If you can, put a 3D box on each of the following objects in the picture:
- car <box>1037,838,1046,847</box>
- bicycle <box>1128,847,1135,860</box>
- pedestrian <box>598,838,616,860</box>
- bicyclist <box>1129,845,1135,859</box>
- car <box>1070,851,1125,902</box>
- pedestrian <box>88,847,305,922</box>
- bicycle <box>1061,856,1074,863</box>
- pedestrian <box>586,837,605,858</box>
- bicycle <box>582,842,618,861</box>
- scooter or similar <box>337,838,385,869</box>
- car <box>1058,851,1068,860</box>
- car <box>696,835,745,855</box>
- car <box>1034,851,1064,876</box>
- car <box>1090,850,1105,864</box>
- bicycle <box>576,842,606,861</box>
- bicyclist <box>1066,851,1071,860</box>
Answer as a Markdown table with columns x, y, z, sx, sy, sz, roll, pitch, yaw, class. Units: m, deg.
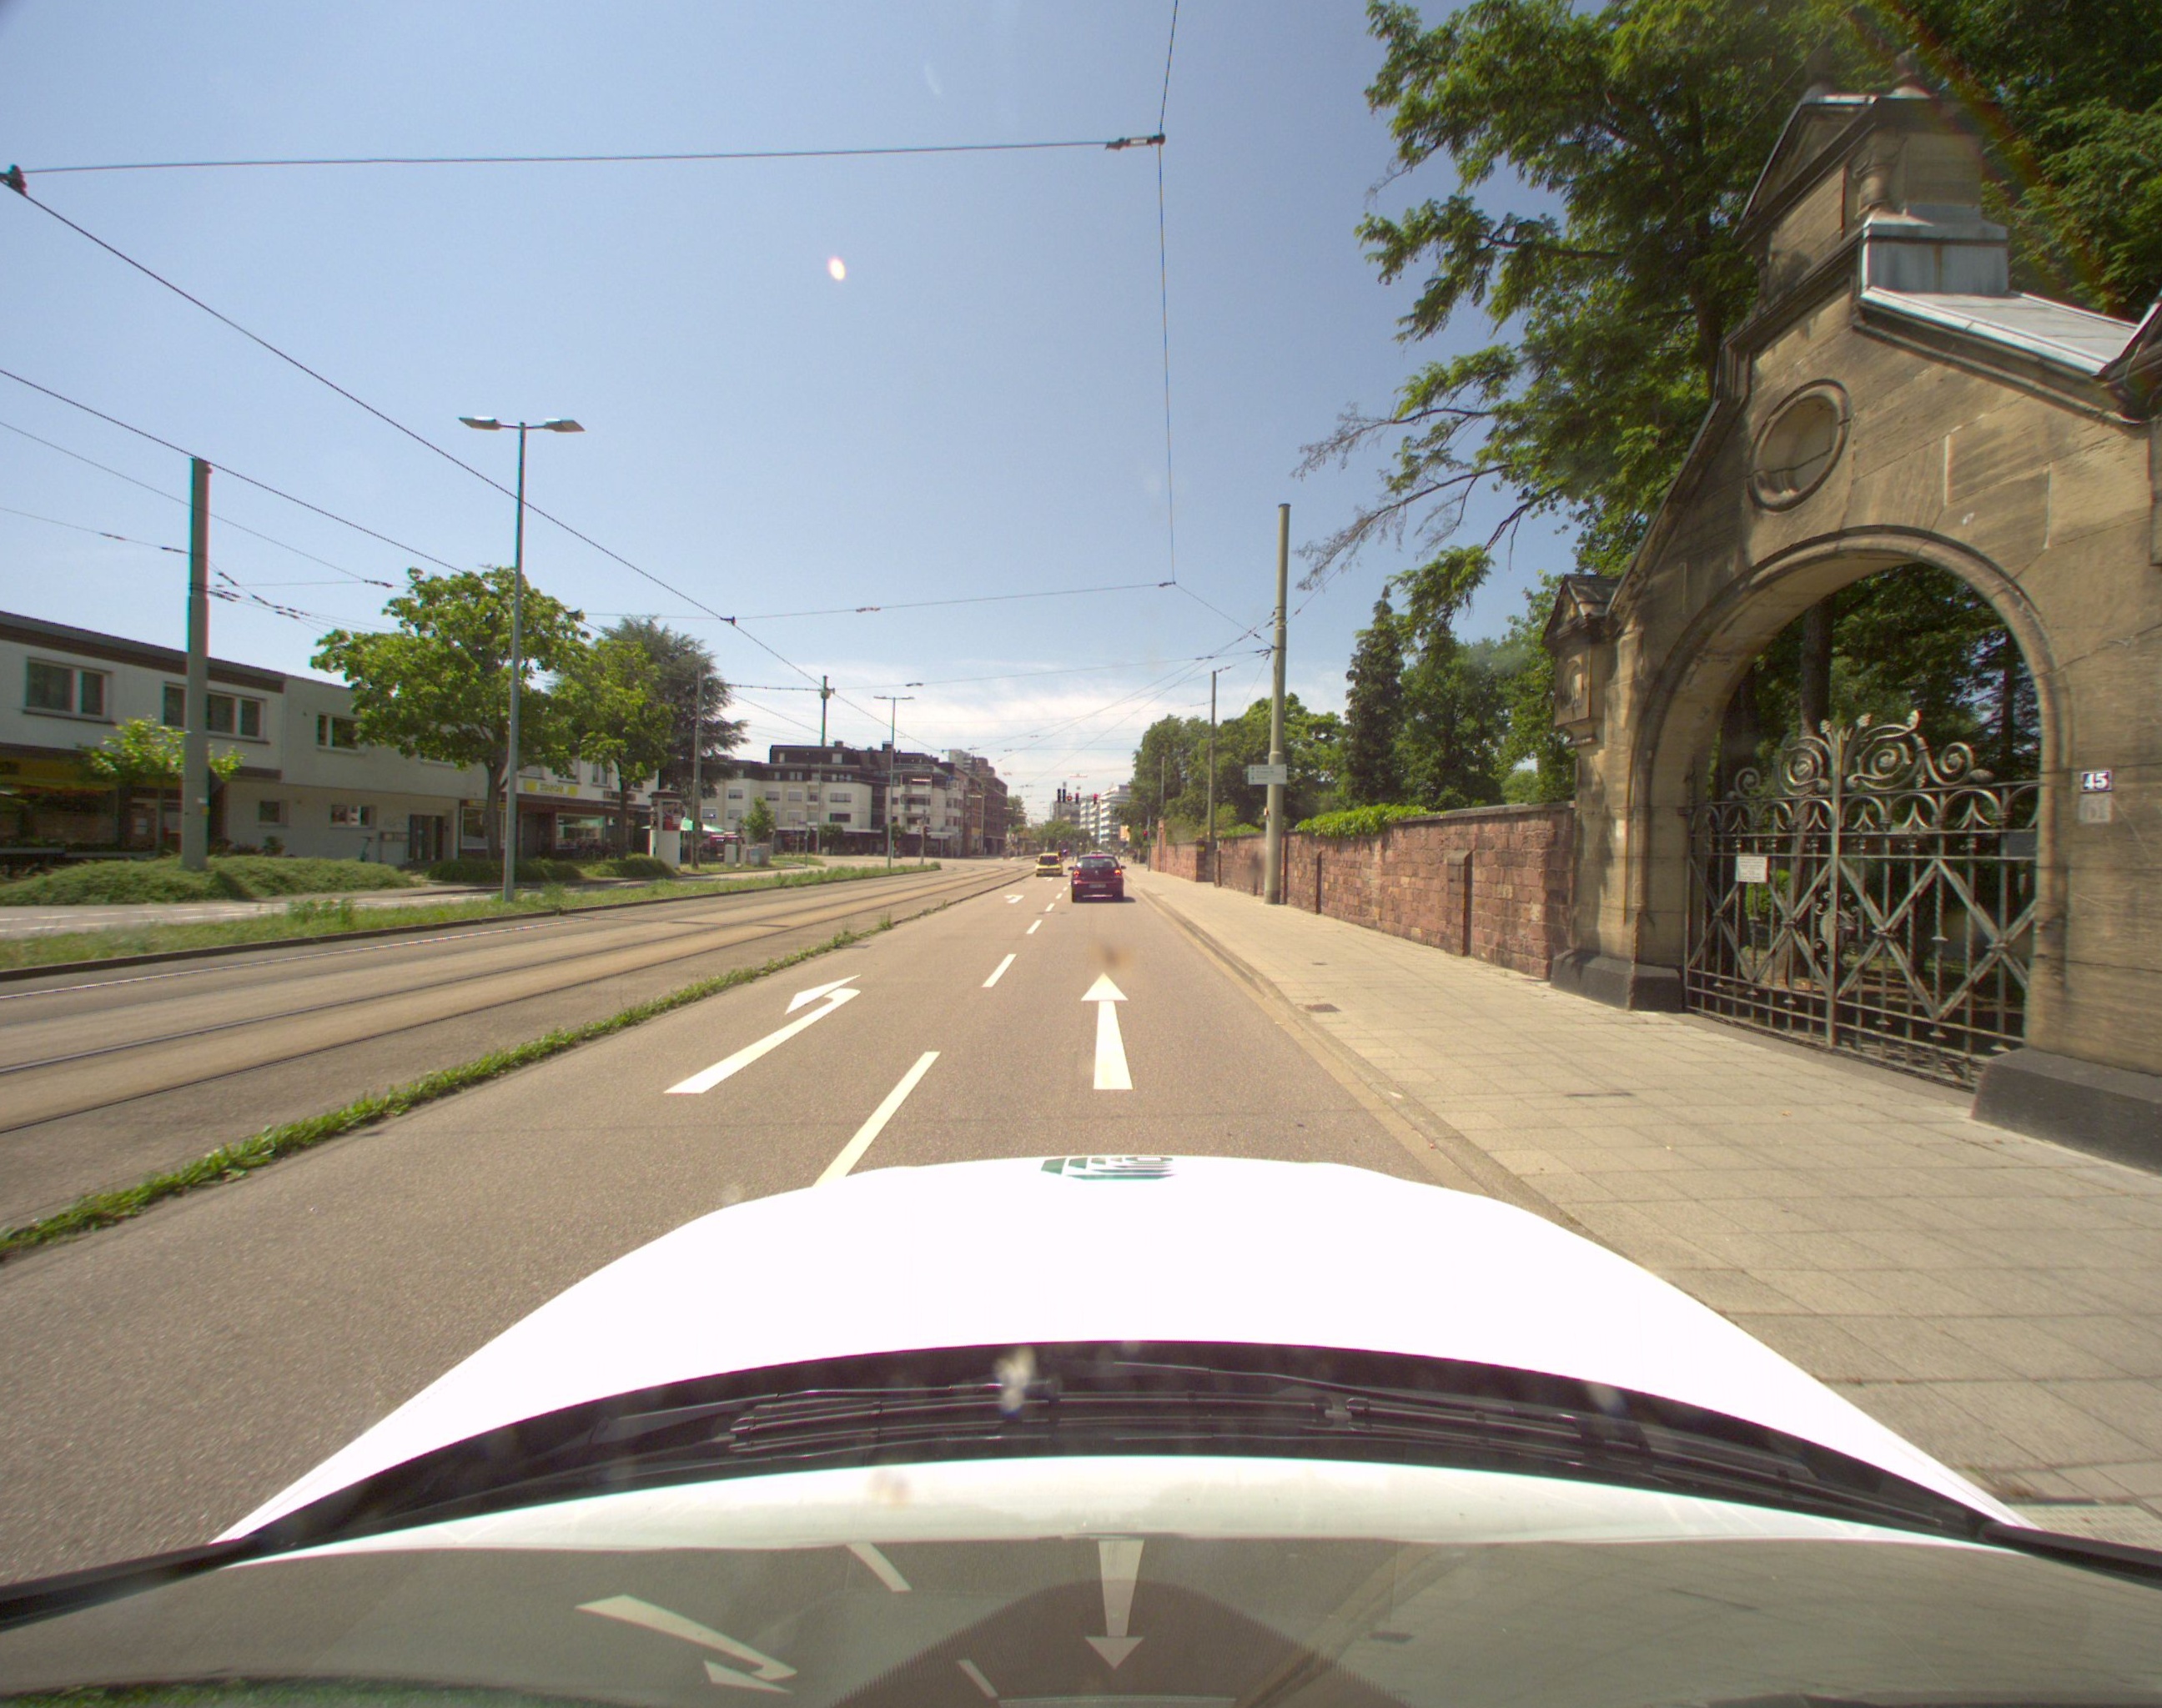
| x | y | z | sx | sy | sz | roll | pitch | yaw | class |
| --- | --- | --- | --- | --- | --- | --- | --- | --- | --- |
| -9.716 | -2.853 | 201.292 | 1.729 | 2.013 | 4.001 | 1 | 0 | 1 | car |
| 6.283 | -0.073 | 101.396 | 0.832 | 1.525 | 4.001 | 0 | -1 | 1 | bicycle |
| -28.201 | -0.278 | 48.444 | 0.587 | 1.268 | 0.842 | 0 | -1 | 1 | pedestrian |
| 6.299 | -0.245 | 101.371 | 0.719 | 1.818 | 0.889 | 0 | -1 | 1 | bicyclist |
| 0.510 | 0.663 | 26.173 | 1.604 | 1.463 | 4.086 | -1 | 0 | 1 | car |
| -25.956 | 0.853 | 24.147 | 1.987 | 2.014 | 4.000 | 0 | -1 | 1 | pedestrian |
| -1.914 | 0.741 | 117.284 | 1.861 | 1.008 | 0.578 | 0 | -1 | -4 | bicycle |
| -28.901 | -0.376 | 48.446 | 0.587 | 1.268 | 0.842 | 0 | -1 | 1 | pedestrian |
| -25.372 | -0.134 | 43.001 | 0.608 | 0.979 | 2.030 | 0 | -1 | 1 | bicycle |
| -28.467 | -0.005 | 32.235 | 0.450 | 1.191 | 1.352 | 0 | -1 | 21 | scooter or similar |
| -3.557 | 0.288 | 163.850 | 1.931 | 1.641 | 4.000 | 0 | -1 | 1 | car |
| -44.911 | -1.093 | 101.497 | 5.049 | 2.341 | 2.244 | 0 | -1 | -1 | car |
| -2.001 | 0.581 | 51.765 | 1.717 | 1.445 | 3.293 | 0 | 1 | 1 | car |
| 1.758 | 0.343 | 86.527 | 1.567 | 1.415 | 3.720 | -1 | 0 | 1 | car |
| -26.621 | -0.122 | 44.252 | 0.536 | 0.979 | 1.759 | 0 | -1 | 1 | bicycle |
| -1.760 | 0.225 | 117.324 | 0.764 | 1.406 | 0.506 | 0 | -1 | -3 | bicyclist |
